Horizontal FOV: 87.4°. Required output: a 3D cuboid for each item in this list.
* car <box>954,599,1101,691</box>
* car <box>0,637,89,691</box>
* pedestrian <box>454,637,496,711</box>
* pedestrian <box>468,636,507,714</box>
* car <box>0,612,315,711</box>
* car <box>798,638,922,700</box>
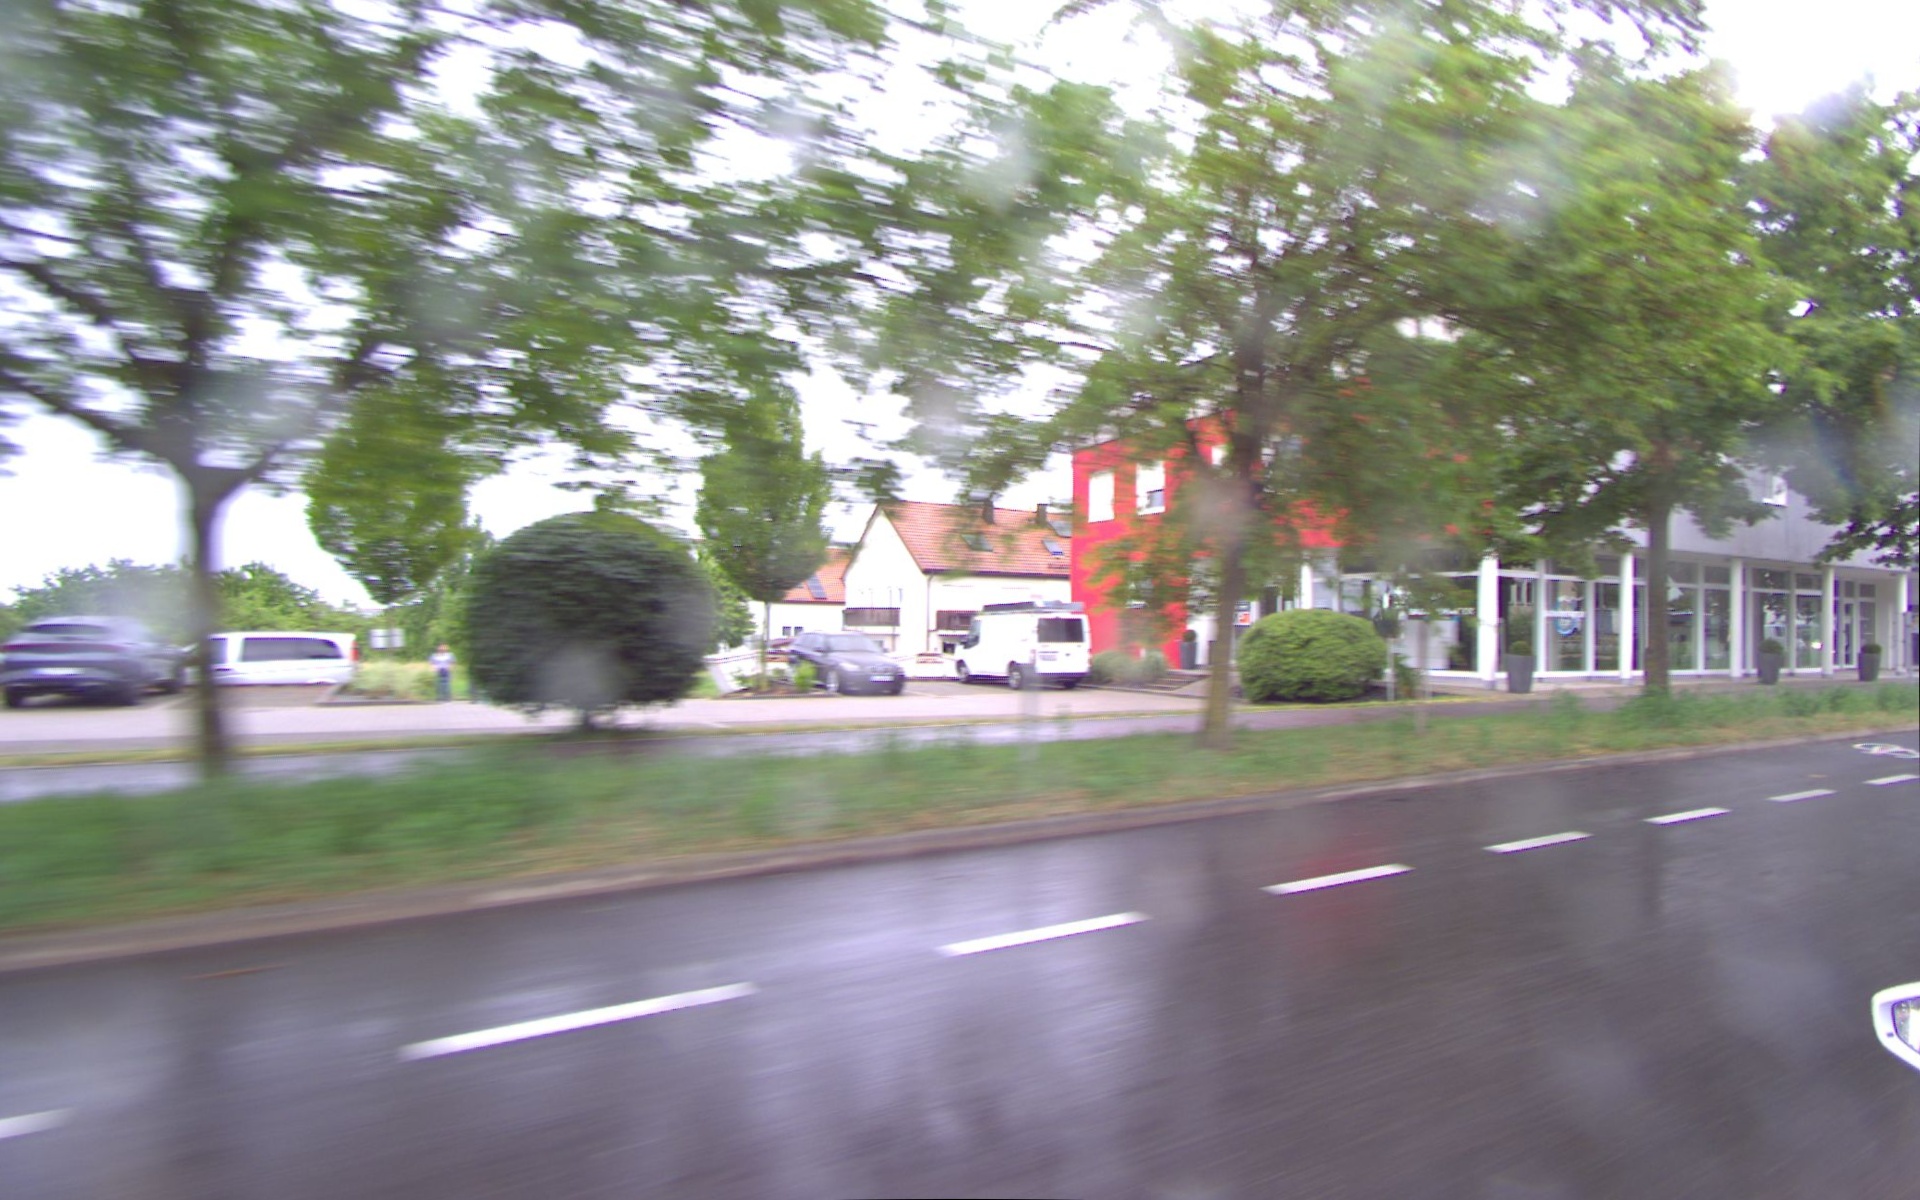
[{"bbox_3d":[1.791,1.155,28.182,2.156,2.341,4.461,0,0,-27],"label":"car"},{"bbox_3d":[-20.480,1.348,21.064,3.136,1.038,1.347,0,0,-31],"label":"car"},{"bbox_3d":[-12.654,1.912,26.212,0.672,1.861,0.764,0,0,30],"label":"pedestrian"},{"bbox_3d":[-11.728,1.838,24.932,0.758,1.861,0.677,0,0,-36],"label":"pedestrian"},{"bbox_3d":[-14.120,1.058,17.927,4.112,1.577,2.107,2,-1,-26],"label":"car"},{"bbox_3d":[-2.533,1.643,24.753,1.687,1.261,3.380,0,0,-33],"label":"car"}]
